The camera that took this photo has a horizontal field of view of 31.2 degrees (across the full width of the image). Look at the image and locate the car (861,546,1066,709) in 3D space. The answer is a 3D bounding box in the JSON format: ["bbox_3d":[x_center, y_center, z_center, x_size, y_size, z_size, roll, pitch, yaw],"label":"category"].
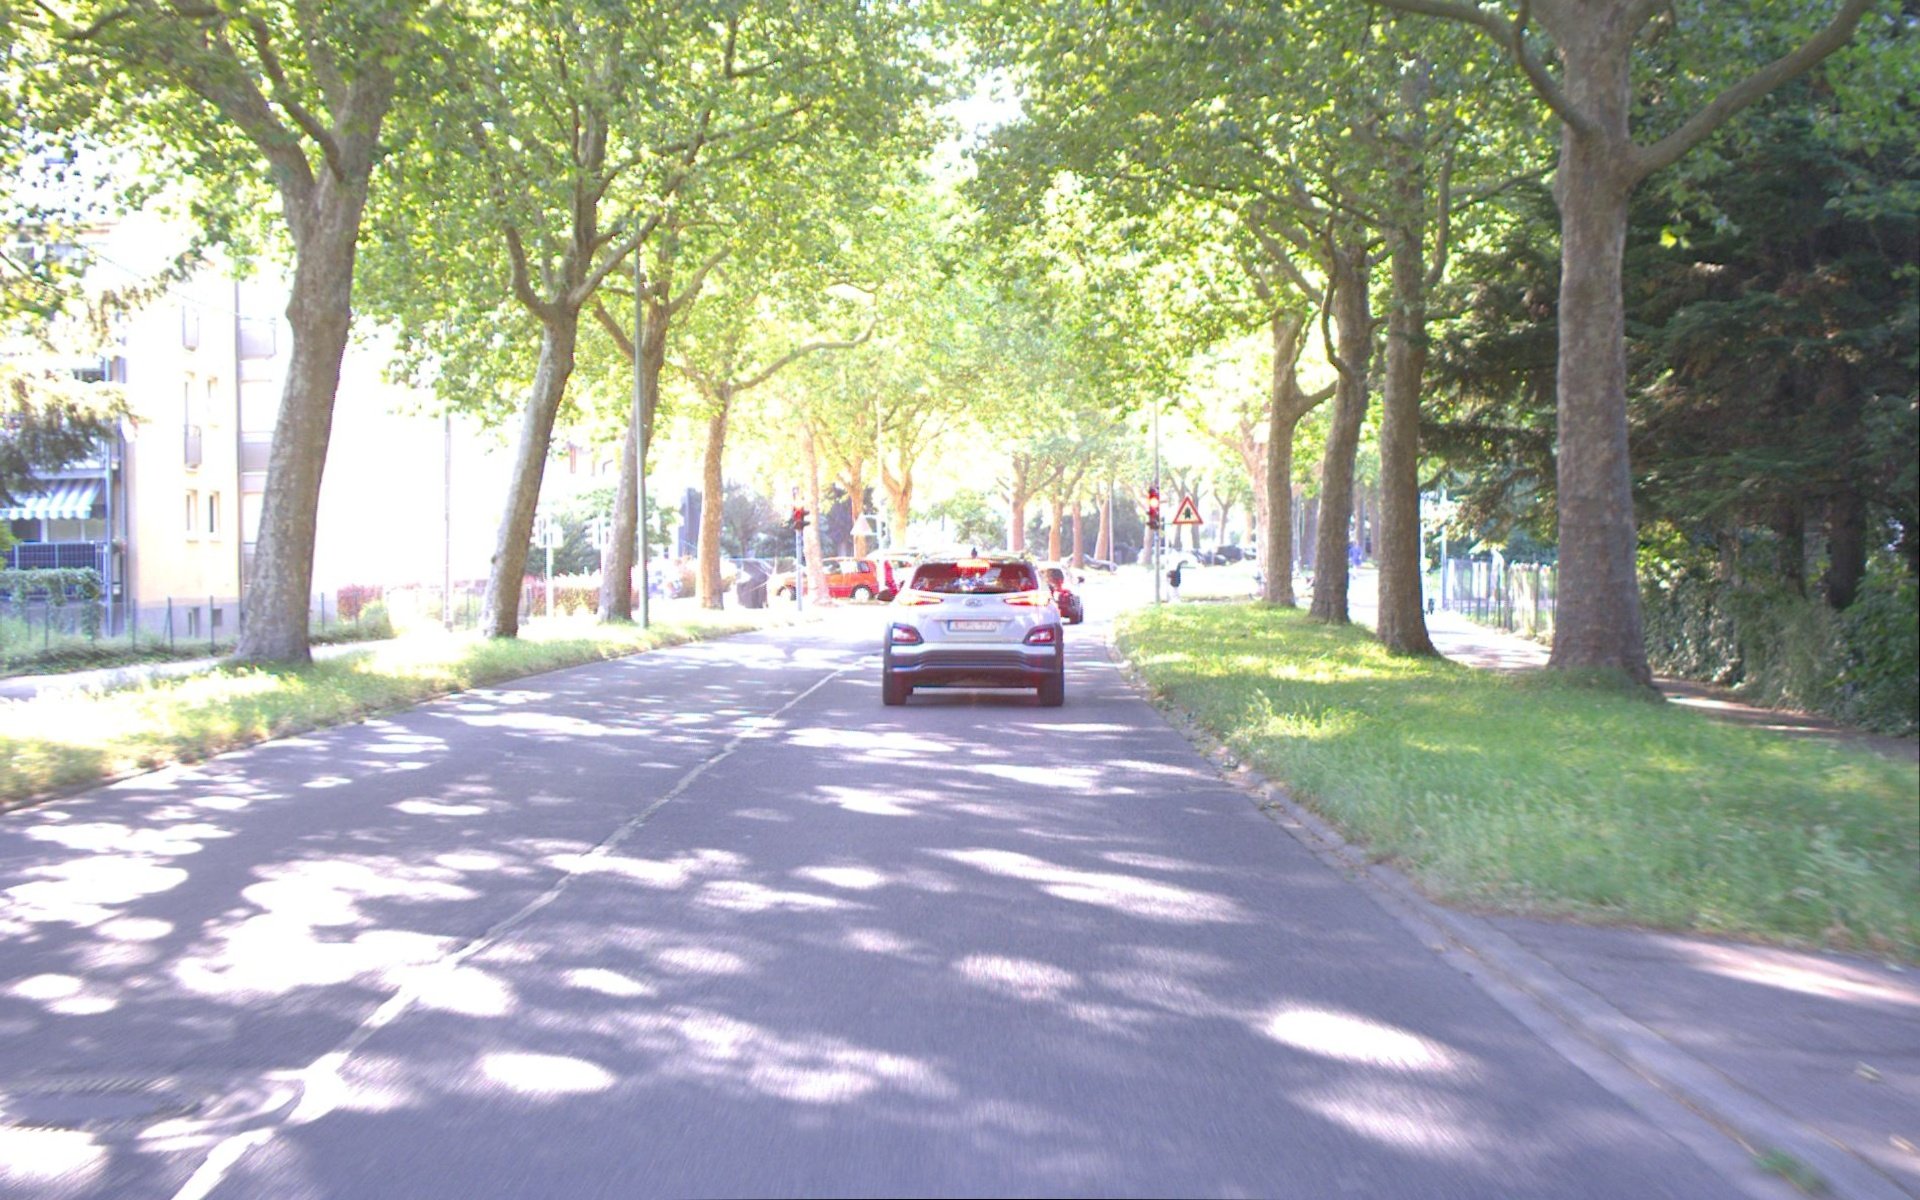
[{"bbox_3d":[0.081,0.255,35.647,1.993,1.569,4.000,1,0,1],"label":"car"}]

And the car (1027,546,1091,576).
[{"bbox_3d":[5.957,-2.357,206.901,3.668,1.802,1.749,0,1,-6],"label":"car"}]

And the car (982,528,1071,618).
[{"bbox_3d":[1.544,-0.620,79.774,1.993,2.007,4.000,1,0,1],"label":"car"}]

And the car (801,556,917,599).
[{"bbox_3d":[-3.600,-0.801,123.362,3.987,1.473,2.000,1,0,4],"label":"car"}]

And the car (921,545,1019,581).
[{"bbox_3d":[0.430,-1.557,145.126,3.987,1.473,2.000,1,0,4],"label":"car"}]

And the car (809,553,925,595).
[{"bbox_3d":[-3.385,-0.941,125.831,3.988,1.473,1.999,1,0,6],"label":"car"}]

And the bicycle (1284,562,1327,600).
[{"bbox_3d":[10.975,-0.610,109.328,0.603,1.179,2.119,1,0,-16],"label":"bicycle"}]

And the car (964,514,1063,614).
[{"bbox_3d":[1.147,-0.742,72.150,1.993,2.007,4.000,1,0,1],"label":"car"}]

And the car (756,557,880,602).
[{"bbox_3d":[-4.782,-0.688,116.022,3.987,1.473,2.000,1,0,4],"label":"car"}]

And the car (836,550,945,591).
[{"bbox_3d":[-2.625,-1.118,130.818,3.987,1.473,2.000,1,0,4],"label":"car"}]

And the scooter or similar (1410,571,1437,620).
[{"bbox_3d":[12.174,-0.120,90.376,0.549,1.254,2.313,1,0,4],"label":"scooter or similar"}]
